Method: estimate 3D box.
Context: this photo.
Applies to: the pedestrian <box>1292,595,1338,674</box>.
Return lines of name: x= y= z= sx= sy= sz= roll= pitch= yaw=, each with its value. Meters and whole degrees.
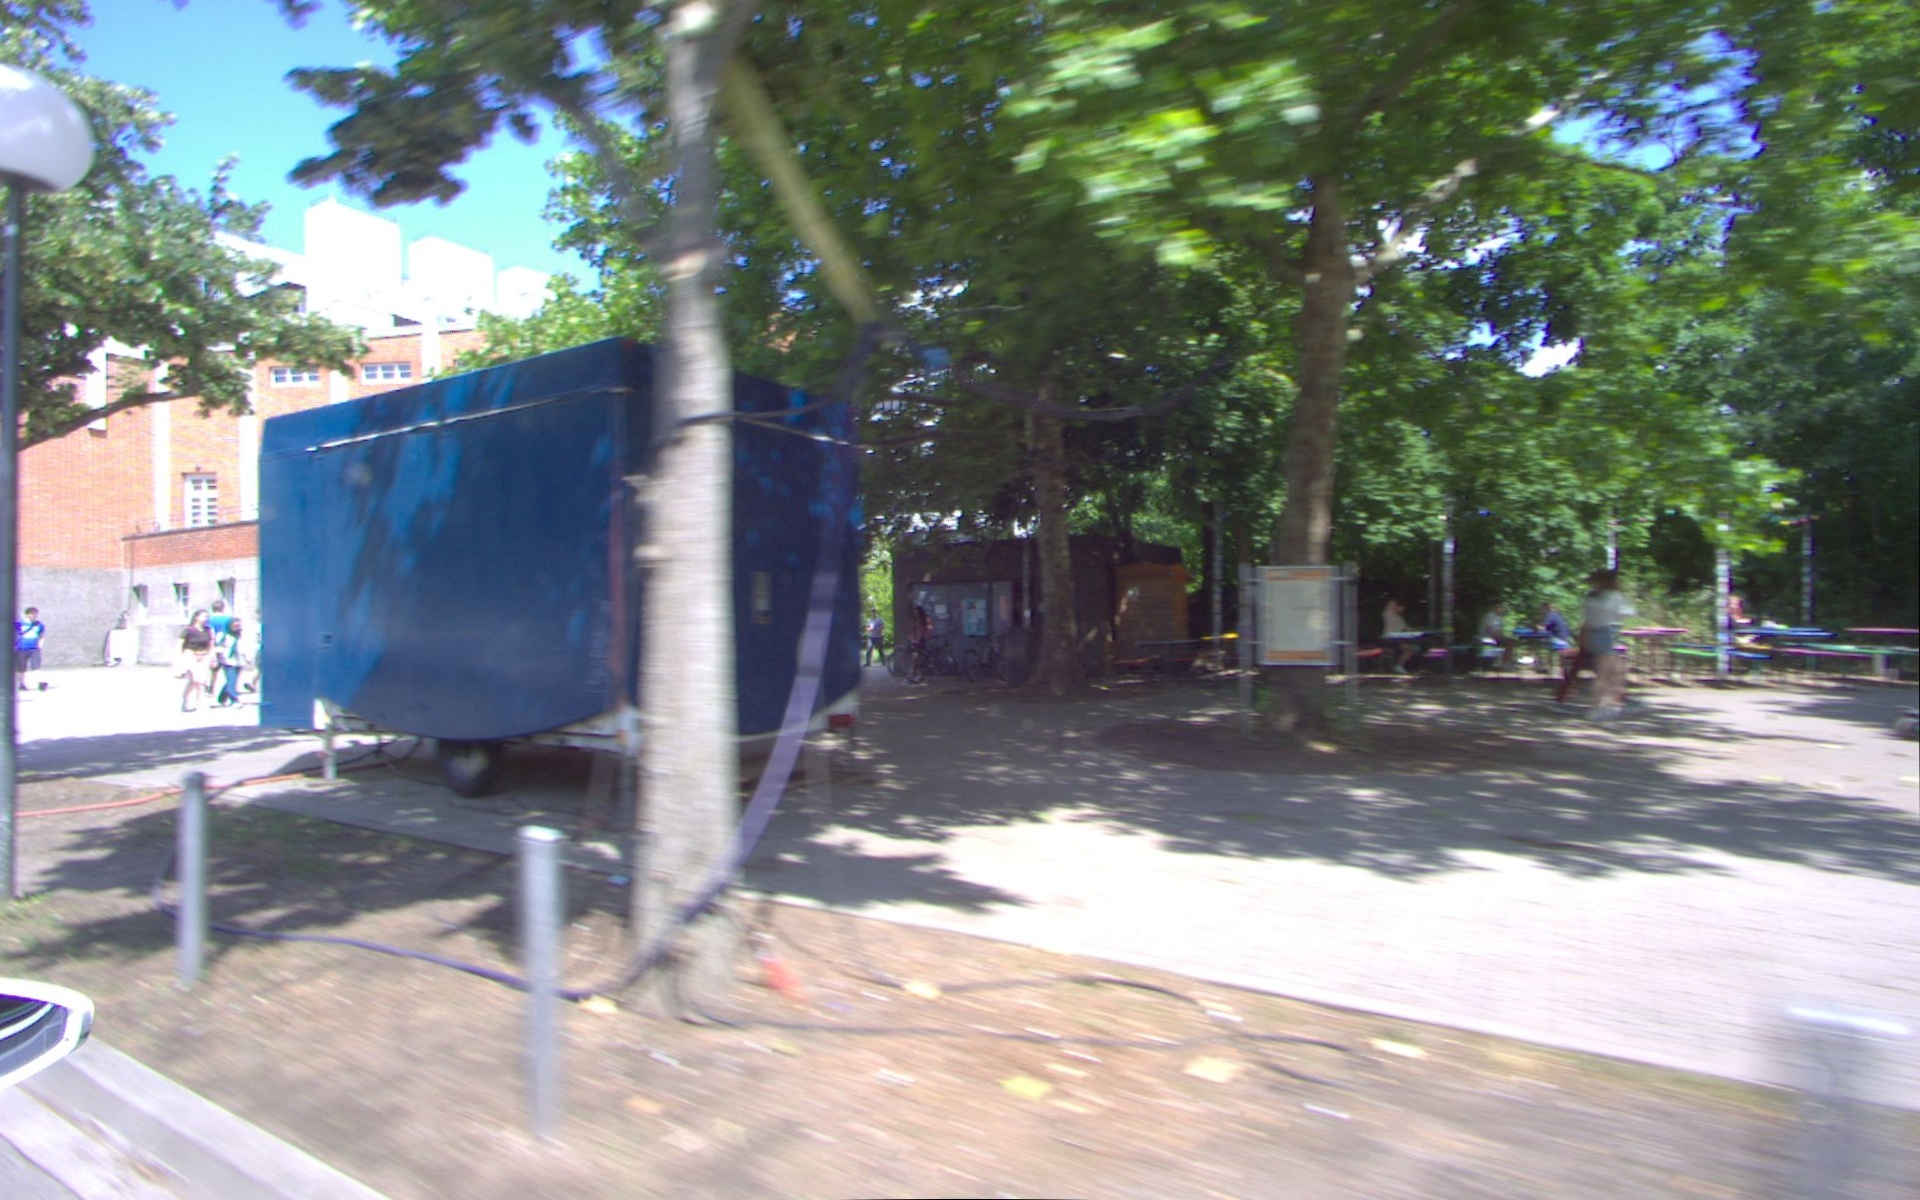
pedestrian: x=6.405 y=0.608 z=18.048 sx=0.718 sy=1.365 sz=0.568 roll=0 pitch=3 yaw=27

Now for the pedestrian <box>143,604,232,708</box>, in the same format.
pedestrian: x=-12.898 y=0.908 z=16.722 sx=0.935 sy=1.660 sz=0.873 roll=1 pitch=2 yaw=32

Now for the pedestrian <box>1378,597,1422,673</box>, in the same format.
pedestrian: x=8.309 y=0.644 z=18.912 sx=0.708 sy=1.365 sz=0.665 roll=0 pitch=3 yaw=27

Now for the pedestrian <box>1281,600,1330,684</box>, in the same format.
pedestrian: x=5.881 y=0.701 z=17.019 sx=0.718 sy=1.365 sz=0.568 roll=0 pitch=3 yaw=27

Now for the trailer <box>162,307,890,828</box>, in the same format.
trailer: x=-3.914 y=-0.160 z=8.706 sx=6.165 sy=3.092 sz=2.687 roll=-1 pitch=1 yaw=31

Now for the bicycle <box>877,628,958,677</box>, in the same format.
bicycle: x=-1.041 y=1.250 z=24.273 sx=1.997 sy=1.155 sz=0.572 roll=-1 pitch=-1 yaw=32

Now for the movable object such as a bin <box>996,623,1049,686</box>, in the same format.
movable object such as a bin: x=1.128 y=0.979 z=18.026 sx=0.732 sy=1.085 sz=0.598 roll=-3 pitch=-1 yaw=33

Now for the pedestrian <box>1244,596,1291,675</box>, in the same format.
pedestrian: x=5.549 y=0.623 z=18.079 sx=0.718 sy=1.365 sz=0.568 roll=0 pitch=3 yaw=27

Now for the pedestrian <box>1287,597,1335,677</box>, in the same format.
pedestrian: x=6.143 y=0.632 z=17.533 sx=0.718 sy=1.365 sz=0.568 roll=0 pitch=3 yaw=27

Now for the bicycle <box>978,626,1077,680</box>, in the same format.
bicycle: x=1.472 y=1.121 z=21.300 sx=0.775 sy=1.085 sz=2.383 roll=-1 pitch=-2 yaw=43

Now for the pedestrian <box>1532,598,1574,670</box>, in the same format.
pedestrian: x=11.009 y=0.614 z=18.618 sx=0.612 sy=1.289 sz=0.665 roll=0 pitch=3 yaw=27

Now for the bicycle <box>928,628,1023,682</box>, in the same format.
bicycle: x=0.371 y=1.159 z=21.684 sx=0.773 sy=1.085 sz=2.387 roll=-1 pitch=-1 yaw=38

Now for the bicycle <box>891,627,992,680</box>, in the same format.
bicycle: x=-0.378 y=1.153 z=22.204 sx=0.775 sy=1.085 sz=2.382 roll=-1 pitch=-1 yaw=44

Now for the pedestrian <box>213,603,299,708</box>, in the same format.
pedestrian: x=-12.279 y=0.937 z=17.480 sx=0.935 sy=1.662 sz=0.873 roll=4 pitch=7 yaw=32

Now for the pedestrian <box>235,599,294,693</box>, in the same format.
pedestrian: x=-14.112 y=0.907 z=20.313 sx=0.981 sy=1.828 sz=0.698 roll=1 pitch=2 yaw=38

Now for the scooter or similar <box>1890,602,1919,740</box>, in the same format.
scooter or similar: x=9.095 y=0.621 z=8.796 sx=1.276 sy=1.234 sz=0.423 roll=-1 pitch=0 yaw=33

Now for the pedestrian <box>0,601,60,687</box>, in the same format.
pedestrian: x=-20.184 y=0.929 z=21.708 sx=0.740 sy=1.812 sz=0.708 roll=0 pitch=2 yaw=23

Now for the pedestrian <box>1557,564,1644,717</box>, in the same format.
pedestrian: x=7.390 y=0.455 z=11.581 sx=0.812 sy=1.683 sz=0.763 roll=-1 pitch=1 yaw=32

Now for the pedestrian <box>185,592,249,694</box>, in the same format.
pedestrian: x=-14.469 y=0.813 z=19.504 sx=0.981 sy=1.918 sz=0.698 roll=1 pitch=3 yaw=37

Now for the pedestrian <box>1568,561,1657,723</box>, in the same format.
pedestrian: x=7.100 y=0.446 z=10.927 sx=0.777 sy=1.683 sz=0.696 roll=-1 pitch=1 yaw=32

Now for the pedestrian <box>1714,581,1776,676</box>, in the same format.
pedestrian: x=13.770 y=0.486 z=17.584 sx=0.707 sy=1.604 sz=0.665 roll=0 pitch=3 yaw=27

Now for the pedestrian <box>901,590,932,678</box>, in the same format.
pedestrian: x=-0.956 y=0.750 z=22.211 sx=0.523 sy=1.907 sz=0.445 roll=0 pitch=0 yaw=42

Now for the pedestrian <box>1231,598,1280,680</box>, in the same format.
pedestrian: x=5.131 y=0.657 z=17.382 sx=0.718 sy=1.365 sz=0.568 roll=0 pitch=3 yaw=27

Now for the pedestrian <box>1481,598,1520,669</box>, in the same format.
pedestrian: x=10.205 y=0.619 z=18.914 sx=0.612 sy=1.289 sz=0.665 roll=0 pitch=3 yaw=27

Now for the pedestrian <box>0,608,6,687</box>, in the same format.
pedestrian: x=-20.424 y=0.991 z=20.912 sx=0.562 sy=1.653 sz=0.501 roll=0 pitch=2 yaw=23
